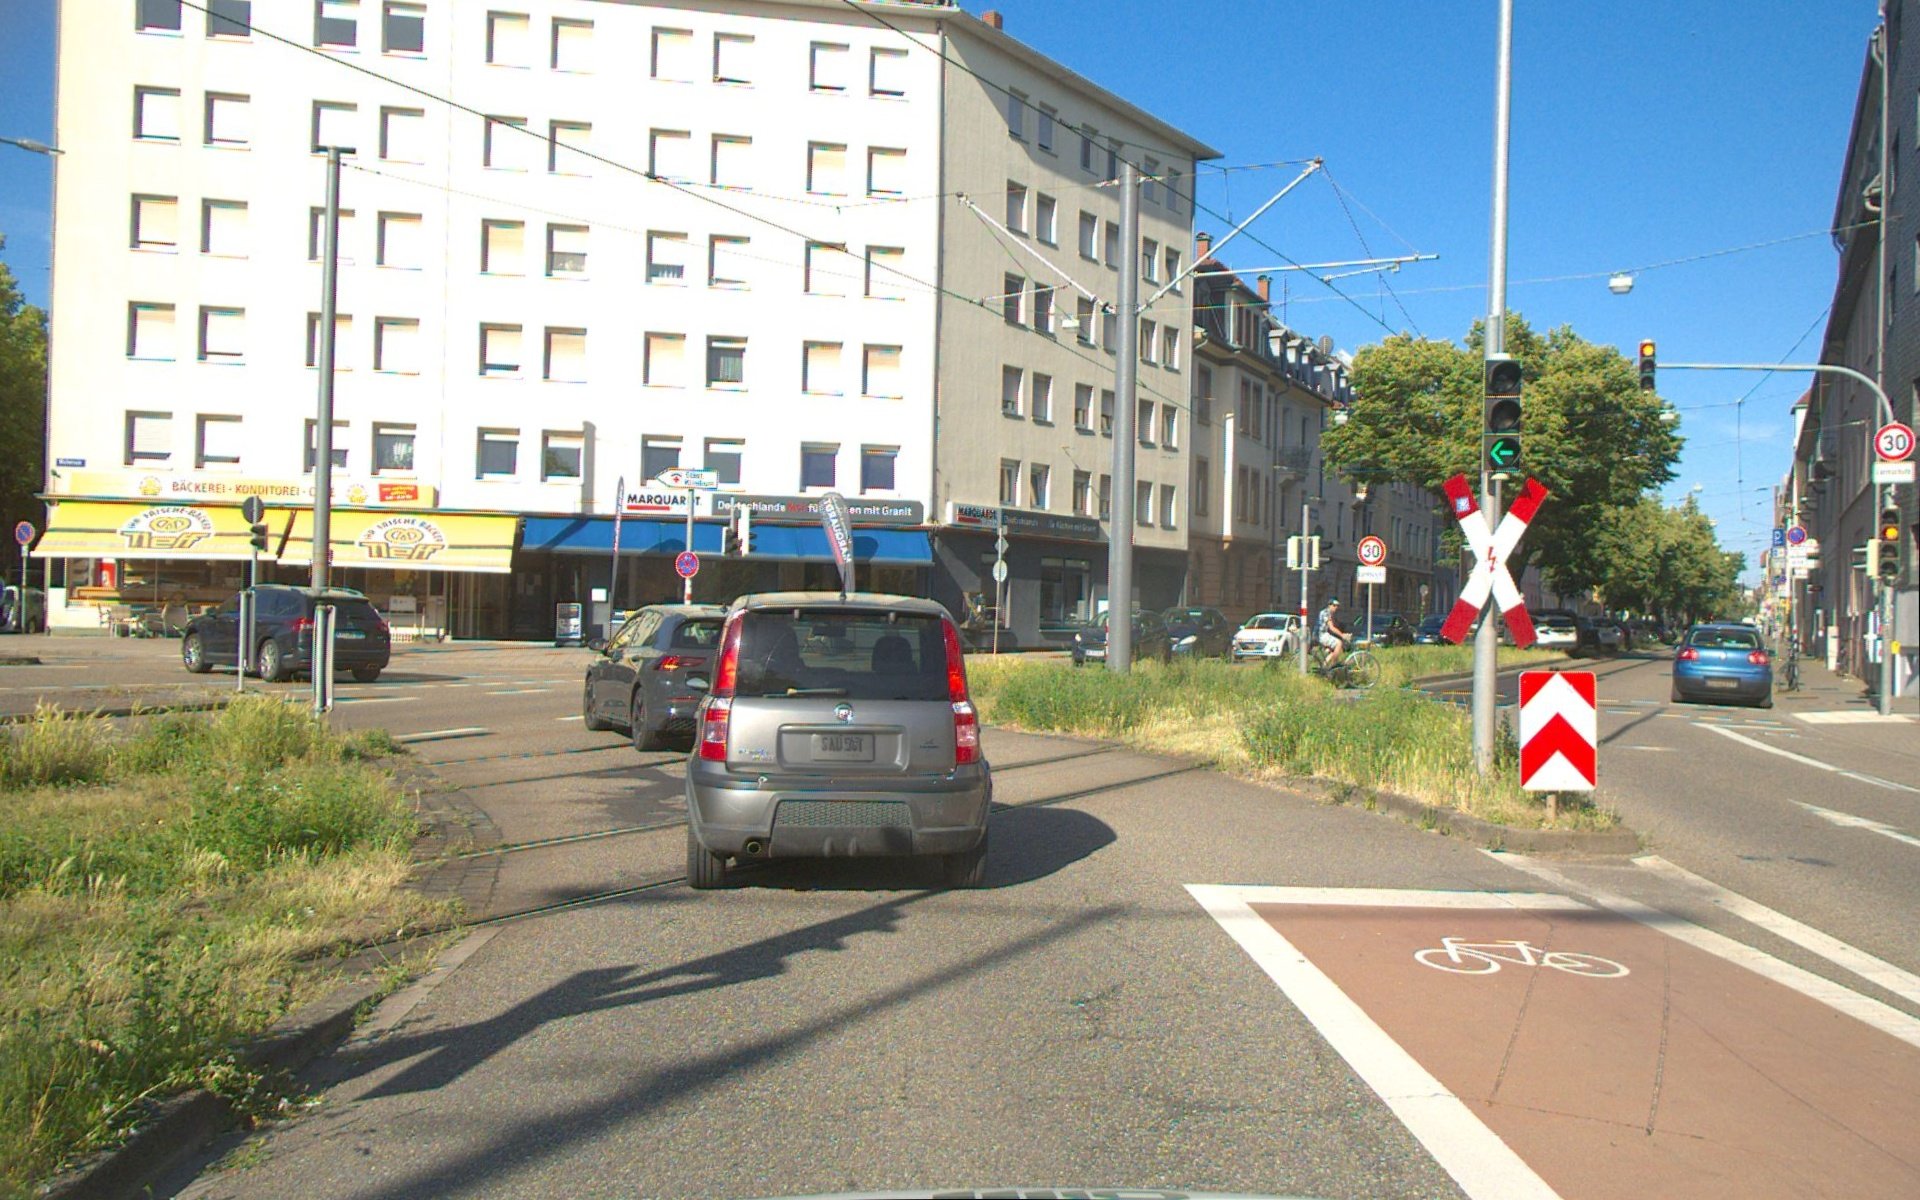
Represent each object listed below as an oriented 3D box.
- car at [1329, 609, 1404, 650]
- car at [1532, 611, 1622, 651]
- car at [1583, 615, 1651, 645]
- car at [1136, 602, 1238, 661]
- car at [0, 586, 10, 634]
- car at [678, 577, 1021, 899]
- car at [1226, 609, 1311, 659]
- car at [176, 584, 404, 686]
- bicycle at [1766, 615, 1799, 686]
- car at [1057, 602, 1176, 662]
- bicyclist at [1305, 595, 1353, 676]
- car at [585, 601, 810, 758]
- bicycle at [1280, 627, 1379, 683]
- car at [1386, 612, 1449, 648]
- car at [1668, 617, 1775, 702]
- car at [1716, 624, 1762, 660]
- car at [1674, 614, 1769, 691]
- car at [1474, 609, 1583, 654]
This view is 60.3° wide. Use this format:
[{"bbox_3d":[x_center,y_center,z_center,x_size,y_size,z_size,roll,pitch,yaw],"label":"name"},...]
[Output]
[{"bbox_3d":[16.004,1.162,64.981,1.955,1.499,3.994,1,0,28],"label":"car"},{"bbox_3d":[30.409,1.512,81.546,3.747,1.817,1.832,1,0,39],"label":"car"},{"bbox_3d":[43.099,1.957,108.474,3.747,1.817,1.832,1,0,39],"label":"car"},{"bbox_3d":[6.562,0.891,47.455,1.755,1.593,3.762,1,0,27],"label":"car"},{"bbox_3d":[-26.956,0.251,43.594,1.956,1.333,3.992,1,0,-8],"label":"car"},{"bbox_3d":[-0.702,0.680,9.618,1.628,1.536,3.247,1,0,-7],"label":"car"},{"bbox_3d":[10.015,1.092,53.502,1.755,1.509,3.528,1,0,27],"label":"car"},{"bbox_3d":[-11.070,0.534,27.194,4.215,1.512,1.756,1,0,41],"label":"car"},{"bbox_3d":[18.541,1.118,37.292,0.562,1.537,2.805,1,0,25],"label":"bicycle"},{"bbox_3d":[4.037,0.803,42.169,1.755,1.420,3.721,1,0,27],"label":"car"},{"bbox_3d":[7.302,0.697,32.748,0.804,1.586,0.562,1,0,1],"label":"bicyclist"},{"bbox_3d":[-2.886,0.766,17.578,1.598,1.454,3.664,1,0,-22],"label":"car"},{"bbox_3d":[7.307,1.085,32.746,1.813,1.050,0.589,1,0,1],"label":"bicycle"},{"bbox_3d":[20.755,1.348,74.935,1.955,1.513,3.994,1,0,28],"label":"car"},{"bbox_3d":[14.599,1.095,31.798,1.739,1.468,3.616,2,0,24],"label":"car"},{"bbox_3d":[38.884,2.108,82.506,1.955,1.646,3.995,2,-1,27],"label":"car"},{"bbox_3d":[16.688,1.100,36.272,1.783,1.534,3.997,1,0,25],"label":"car"},{"bbox_3d":[21.864,1.189,63.785,1.877,1.621,3.975,1,0,-21],"label":"car"}]
